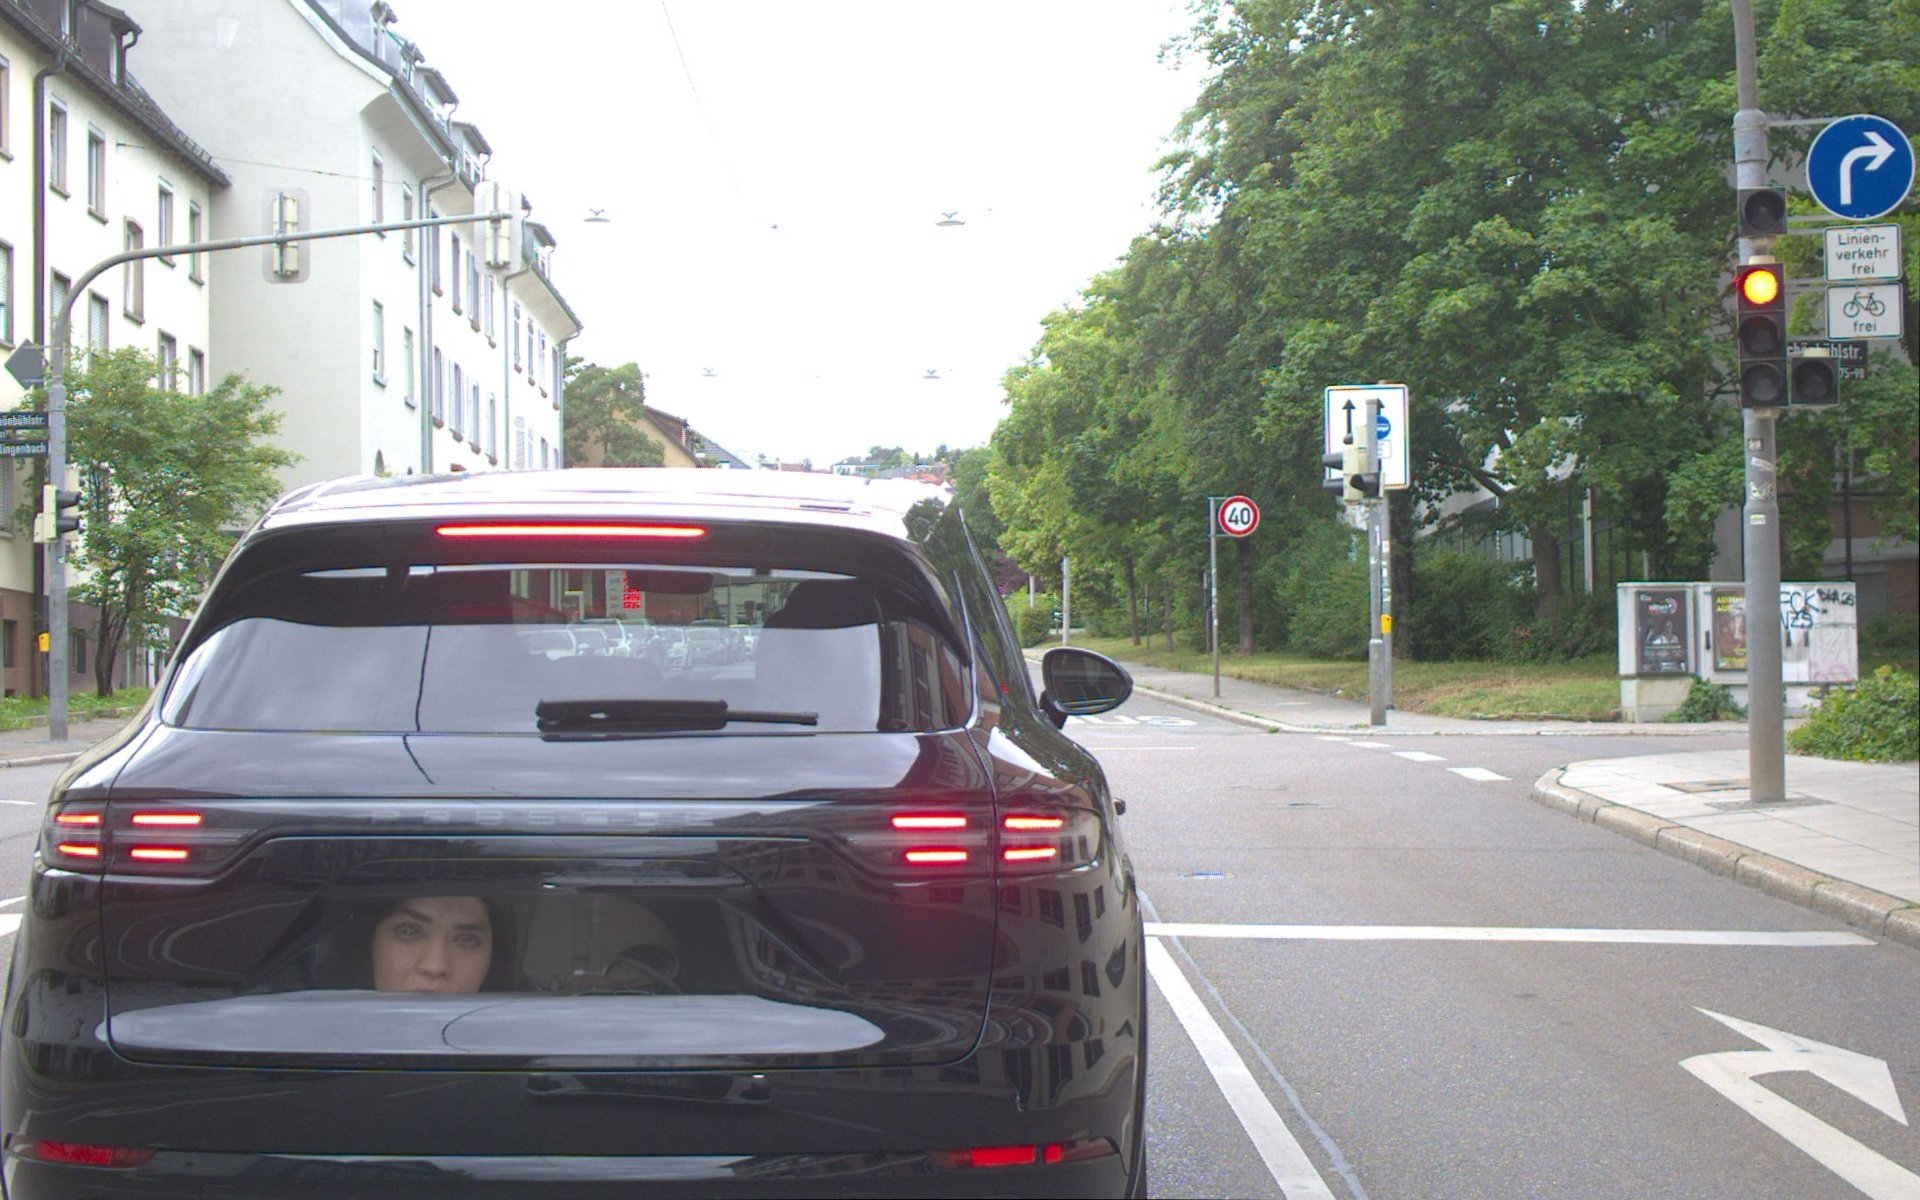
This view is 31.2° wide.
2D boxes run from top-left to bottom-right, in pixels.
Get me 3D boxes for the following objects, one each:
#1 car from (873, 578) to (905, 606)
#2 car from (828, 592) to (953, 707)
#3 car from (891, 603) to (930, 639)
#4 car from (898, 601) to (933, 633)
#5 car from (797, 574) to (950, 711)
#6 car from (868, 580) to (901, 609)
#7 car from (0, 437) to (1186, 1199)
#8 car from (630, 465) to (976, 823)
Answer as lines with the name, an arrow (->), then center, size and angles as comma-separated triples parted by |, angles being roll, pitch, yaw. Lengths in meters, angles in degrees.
car -> -4.336, -0.498, 210.275 | 1.827, 1.599, 4.135 | 1, 1, 0
car -> -1.034, 0.725, 52.543 | 1.827, 1.599, 3.859 | 1, 1, 0
car -> -2.342, 0.995, 163.313 | 1.827, 1.599, 4.135 | 1, 1, 0
car -> -2.345, 0.890, 182.489 | 1.827, 1.599, 4.135 | 1, 1, 0
car -> -1.061, 0.499, 43.825 | 1.827, 1.599, 4.135 | 1, 1, 0
car -> -4.436, -0.346, 202.949 | 1.827, 1.599, 4.135 | 1, 1, 0
car -> -0.713, 0.563, 7.253 | 2.048, 1.660, 4.267 | 1, 1, 0
car -> -0.917, 0.218, 21.901 | 1.965, 2.035, 4.135 | 1, 1, 0
